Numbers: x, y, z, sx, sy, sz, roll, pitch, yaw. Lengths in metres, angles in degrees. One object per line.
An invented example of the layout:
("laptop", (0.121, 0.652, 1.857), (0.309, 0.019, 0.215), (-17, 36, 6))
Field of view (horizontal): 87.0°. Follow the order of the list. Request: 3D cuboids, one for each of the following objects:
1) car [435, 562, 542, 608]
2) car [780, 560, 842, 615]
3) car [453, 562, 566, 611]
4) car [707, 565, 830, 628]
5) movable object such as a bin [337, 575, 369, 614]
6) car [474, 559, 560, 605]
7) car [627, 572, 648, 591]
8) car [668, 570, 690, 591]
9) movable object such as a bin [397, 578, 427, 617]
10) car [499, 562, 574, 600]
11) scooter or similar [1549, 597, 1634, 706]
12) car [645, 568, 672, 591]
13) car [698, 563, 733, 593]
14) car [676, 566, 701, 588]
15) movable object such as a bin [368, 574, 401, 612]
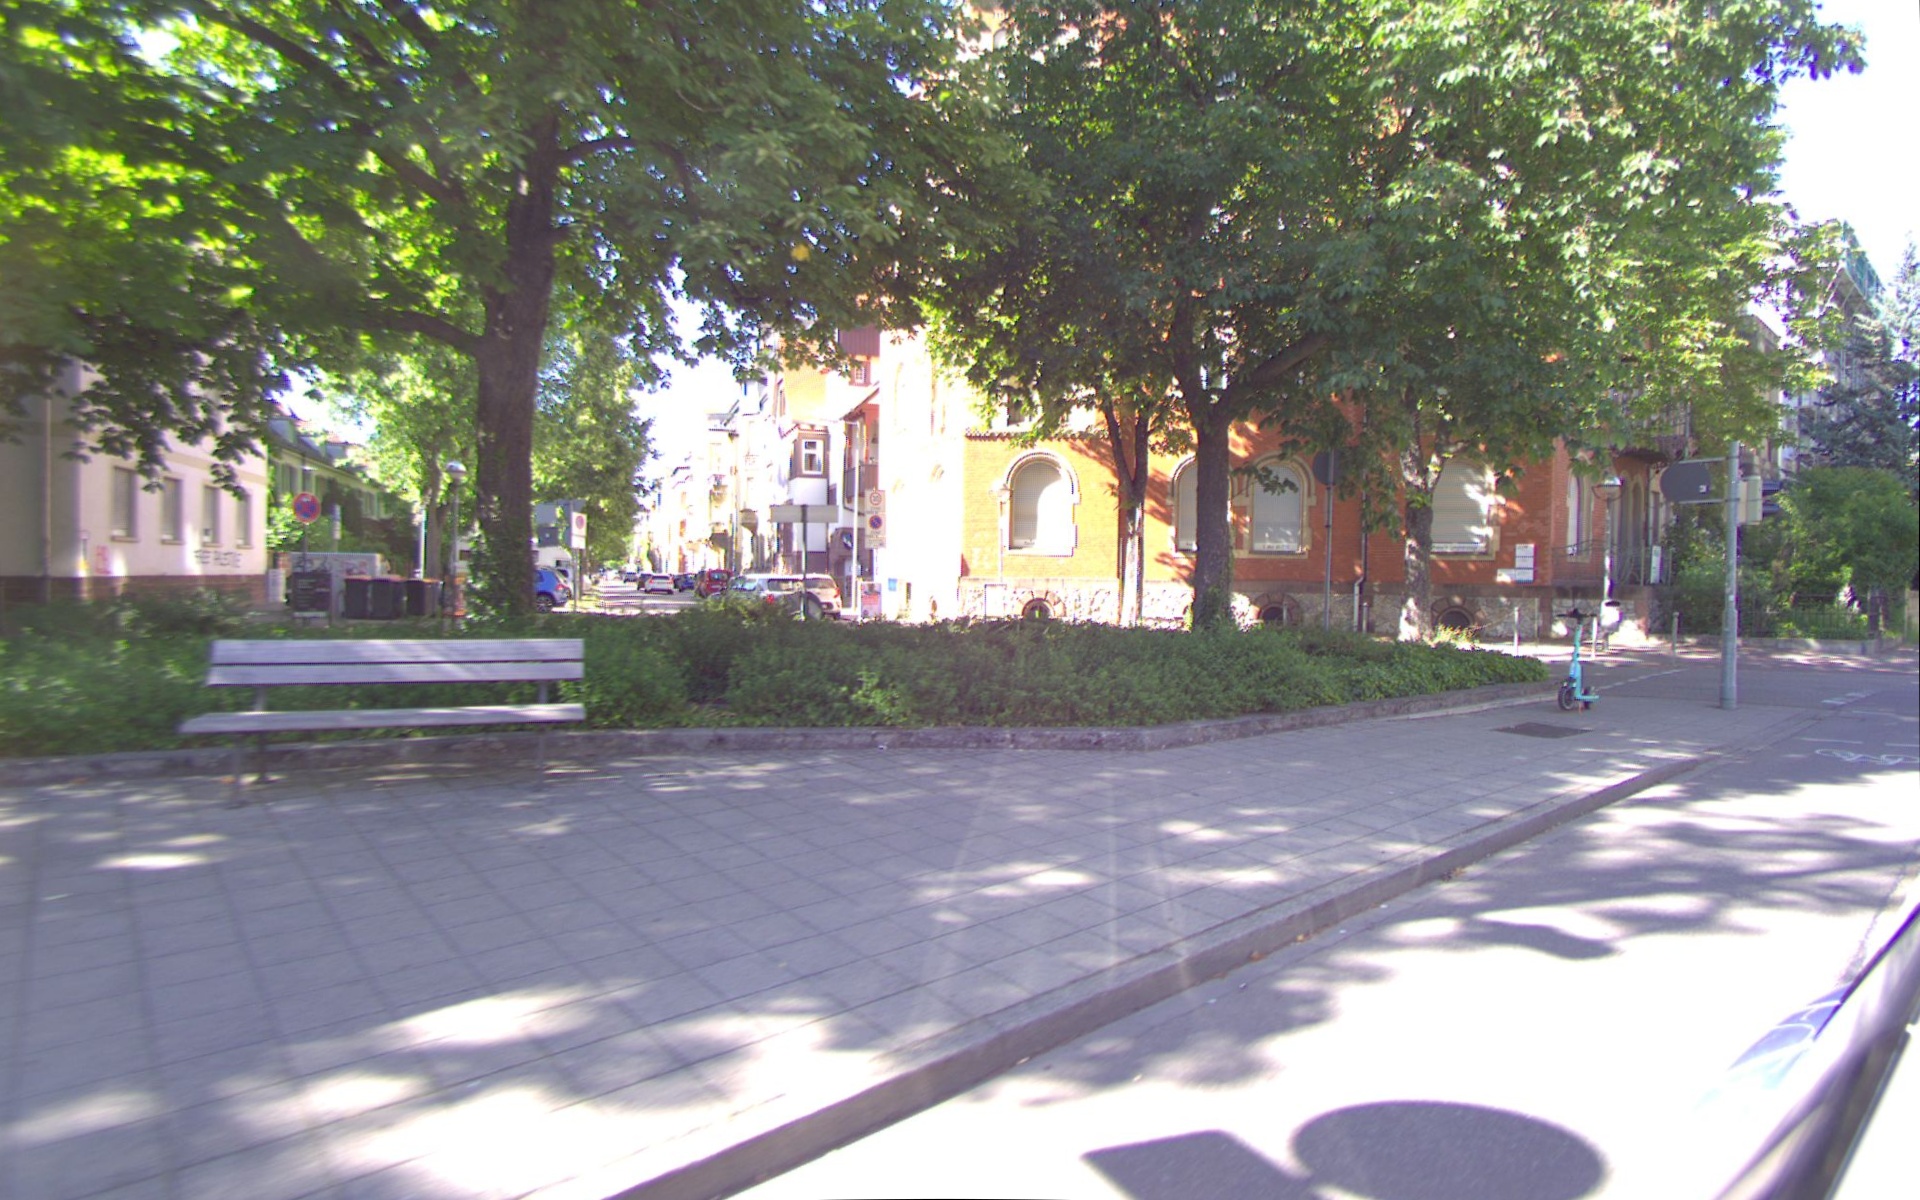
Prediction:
("car", (-16.281, -0.533, 35.097), (3.278, 1.538, 1.502), (0, 0, -23))
("car", (-5.007, -0.413, 33.666), (1.600, 1.738, 3.811), (0, 0, -15))
("car", (-14.598, -0.438, 32.882), (3.278, 1.538, 1.502), (0, 0, -23))
("car", (-4.894, -0.101, 25.611), (1.605, 1.476, 3.545), (0, 0, -38))
("movable object such as a bin", (-15.365, -0.149, 25.637), (0.532, 0.977, 0.644), (0, 0, -14))
("car", (-18.697, -0.752, 42.816), (3.278, 1.856, 1.502), (0, 0, -23))
("car", (-26.538, -1.503, 83.206), (1.600, 1.488, 3.535), (0, 0, -19))
("car", (-24.233, -1.694, 87.255), (1.600, 1.738, 3.811), (0, 0, -19))
("movable object such as a bin", (-14.082, -0.069, 26.037), (0.532, 0.977, 0.644), (0, 0, -14))
("car", (-20.175, -0.910, 48.259), (3.278, 1.757, 1.502), (0, 0, -23))
("scooter or similar", (7.802, 0.622, 12.485), (1.253, 1.265, 0.519), (2, 0, -41))
("car", (-20.892, -1.408, 70.072), (1.600, 1.488, 3.535), (0, 0, -19))
("car", (-14.531, -1.283, 60.036), (1.600, 1.738, 3.811), (0, 0, -19))
("car", (-21.340, -1.783, 79.500), (1.600, 1.738, 3.811), (0, 0, -19))
("movable object such as a bin", (-14.708, -0.178, 25.864), (0.570, 0.977, 0.644), (0, 0, -14))
